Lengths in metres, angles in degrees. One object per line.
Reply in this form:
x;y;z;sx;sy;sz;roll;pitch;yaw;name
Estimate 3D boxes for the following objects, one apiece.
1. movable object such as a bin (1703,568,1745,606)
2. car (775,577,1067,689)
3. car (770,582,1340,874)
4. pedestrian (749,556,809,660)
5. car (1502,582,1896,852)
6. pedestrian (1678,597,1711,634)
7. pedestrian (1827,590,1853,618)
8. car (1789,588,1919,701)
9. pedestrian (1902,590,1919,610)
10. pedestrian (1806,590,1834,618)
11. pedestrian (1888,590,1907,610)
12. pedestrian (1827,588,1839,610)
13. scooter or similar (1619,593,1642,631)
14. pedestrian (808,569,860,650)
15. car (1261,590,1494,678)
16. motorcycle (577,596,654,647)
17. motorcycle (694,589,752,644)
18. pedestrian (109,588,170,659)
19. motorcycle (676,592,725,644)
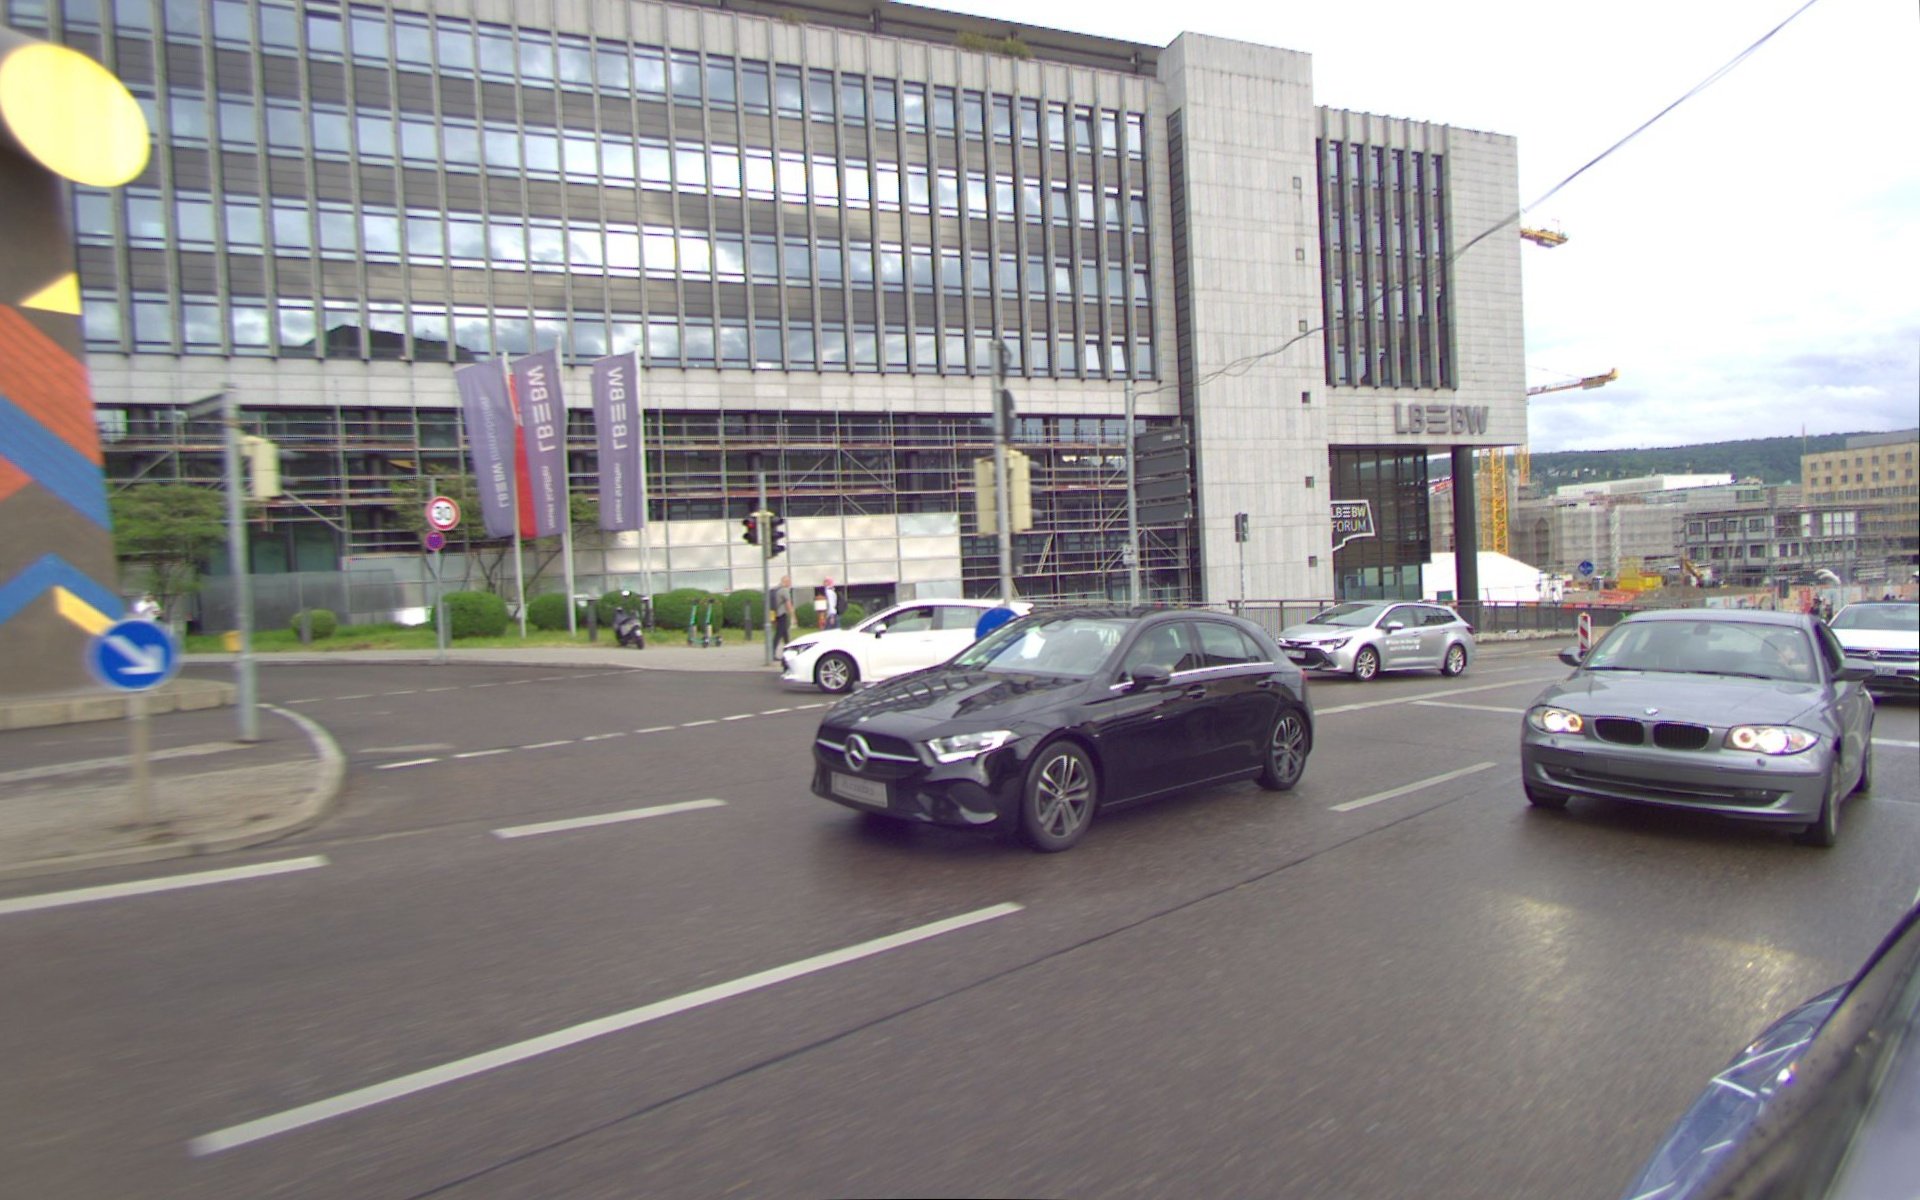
73.453;-1.260;97.293;4.151;3.451;1.943;-3;1;-34;movable object such as a bin
-0.675;0.490;16.432;4.488;1.655;1.779;-1;0;-7;car
0.897;0.622;7.256;4.156;1.424;1.757;-2;2;-43;car
-3.831;0.167;21.434;0.846;2.126;0.896;-3;-2;26;pedestrian
5.632;0.616;7.513;3.935;1.461;1.740;-1;0;-44;car
34.542;0.721;47.609;1.039;1.673;0.733;-2;0;-14;pedestrian
51.472;0.221;59.197;0.788;1.594;0.735;-3;0;-14;pedestrian
14.665;0.599;15.611;4.140;1.568;1.969;-1;0;-37;car
75.359;0.017;80.223;0.867;1.541;0.612;-3;1;-22;pedestrian
50.824;0.232;59.807;0.932;1.613;0.865;-3;1;-14;pedestrian
74.882;0.004;80.822;0.987;1.572;0.718;-3;1;-22;pedestrian
72.292;-0.085;83.826;0.485;1.770;0.569;-3;1;-23;pedestrian
21.368;0.389;32.250;0.561;1.177;0.350;-2;0;-27;scooter or similar
-2.806;0.206;22.582;0.829;1.732;0.730;-3;1;-42;pedestrian
7.923;0.577;19.104;4.524;1.469;1.707;-1;0;-31;car
-8.592;0.510;25.193;2.562;1.094;0.625;4;3;42;motorcycle
-6.217;0.408;26.472;1.723;1.371;0.597;1;1;42;motorcycle
-21.909;0.610;27.031;0.766;1.840;0.971;-2;1;-1;pedestrian
-6.640;0.447;25.877;1.240;1.286;0.611;1;1;42;motorcycle
